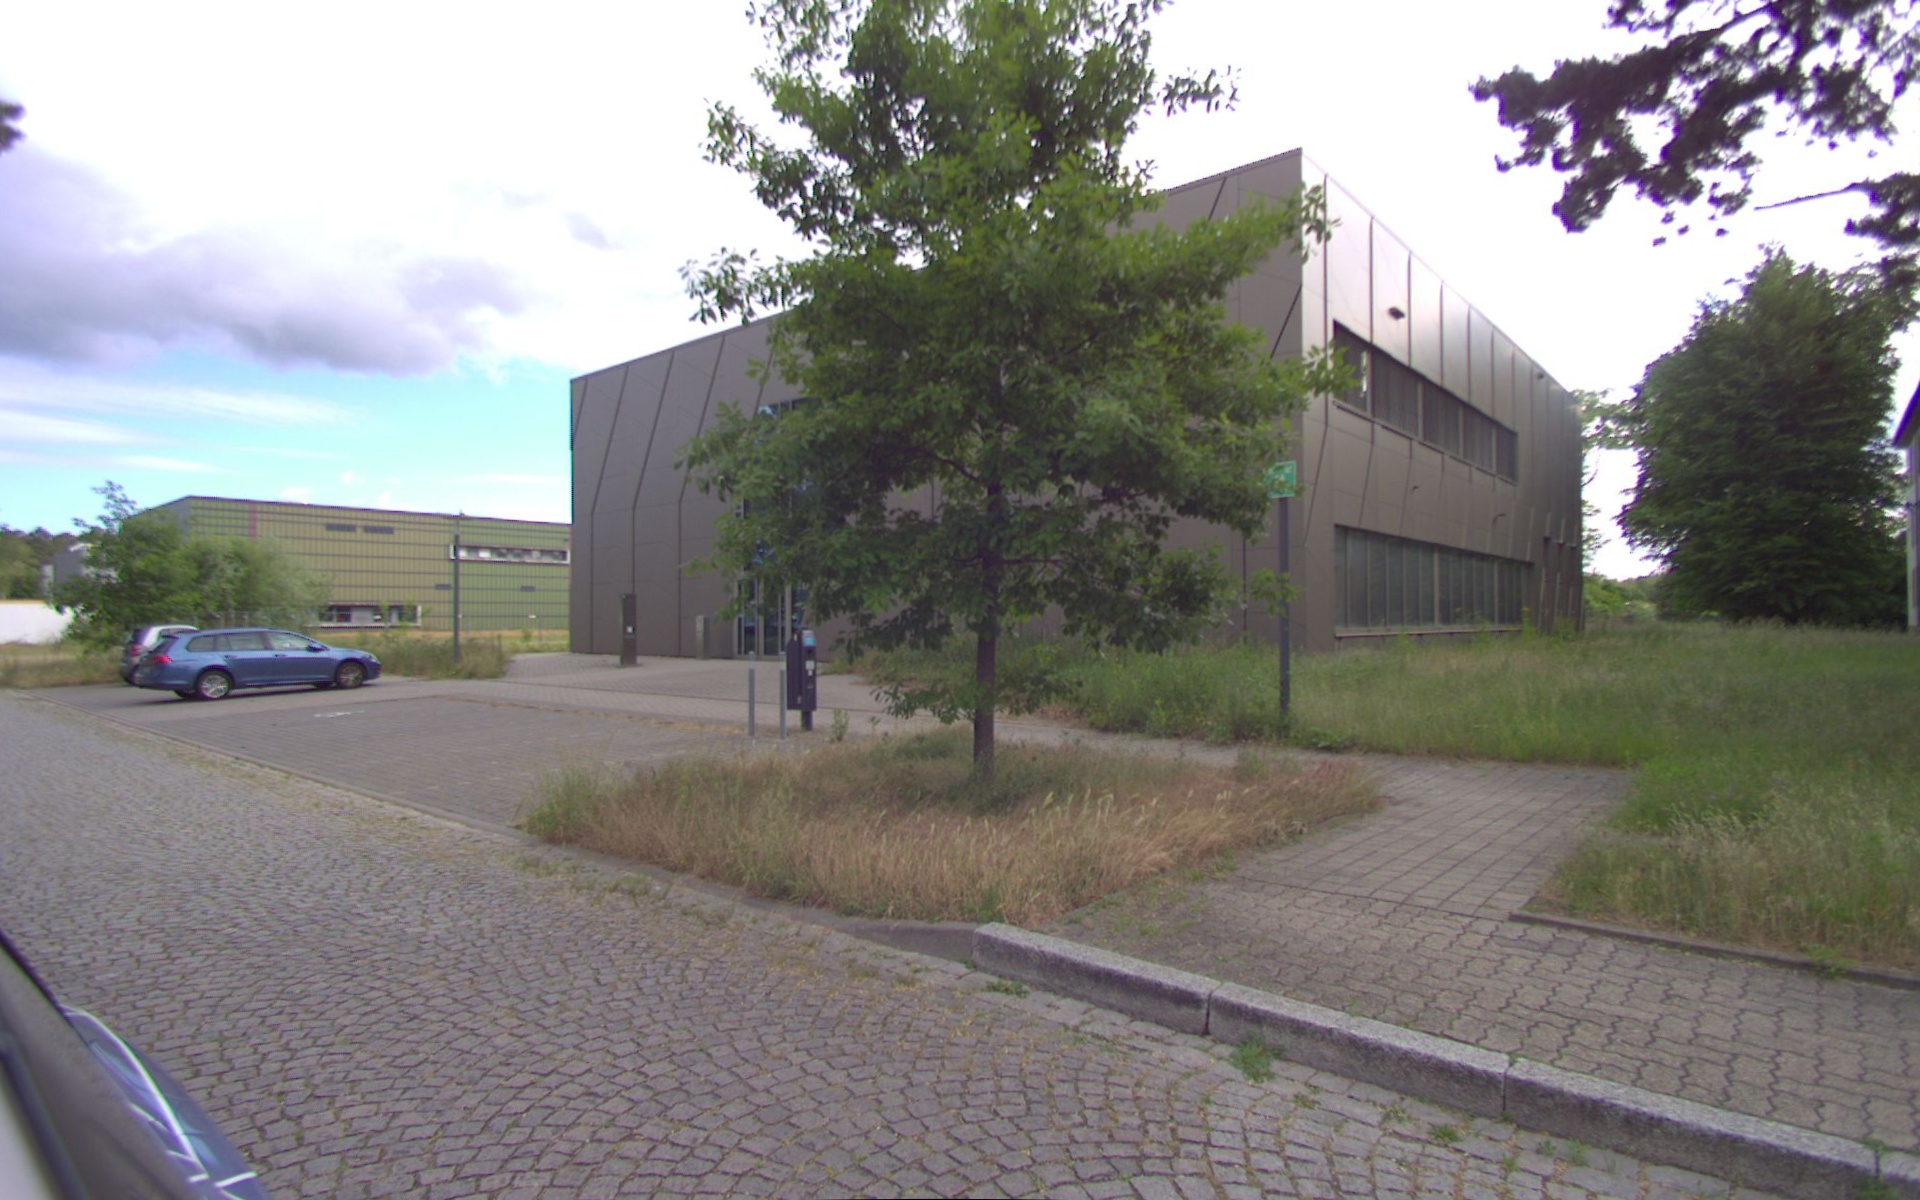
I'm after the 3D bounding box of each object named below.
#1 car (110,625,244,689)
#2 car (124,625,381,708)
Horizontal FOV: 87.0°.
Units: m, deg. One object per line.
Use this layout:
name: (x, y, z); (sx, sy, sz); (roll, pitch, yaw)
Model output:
car: (-21.001, 1.486, 27.178); (1.499, 1.541, 2.553); (-1, 0, 39)
car: (-15.457, 1.372, 22.329); (1.631, 1.480, 4.373); (-1, 0, 38)
